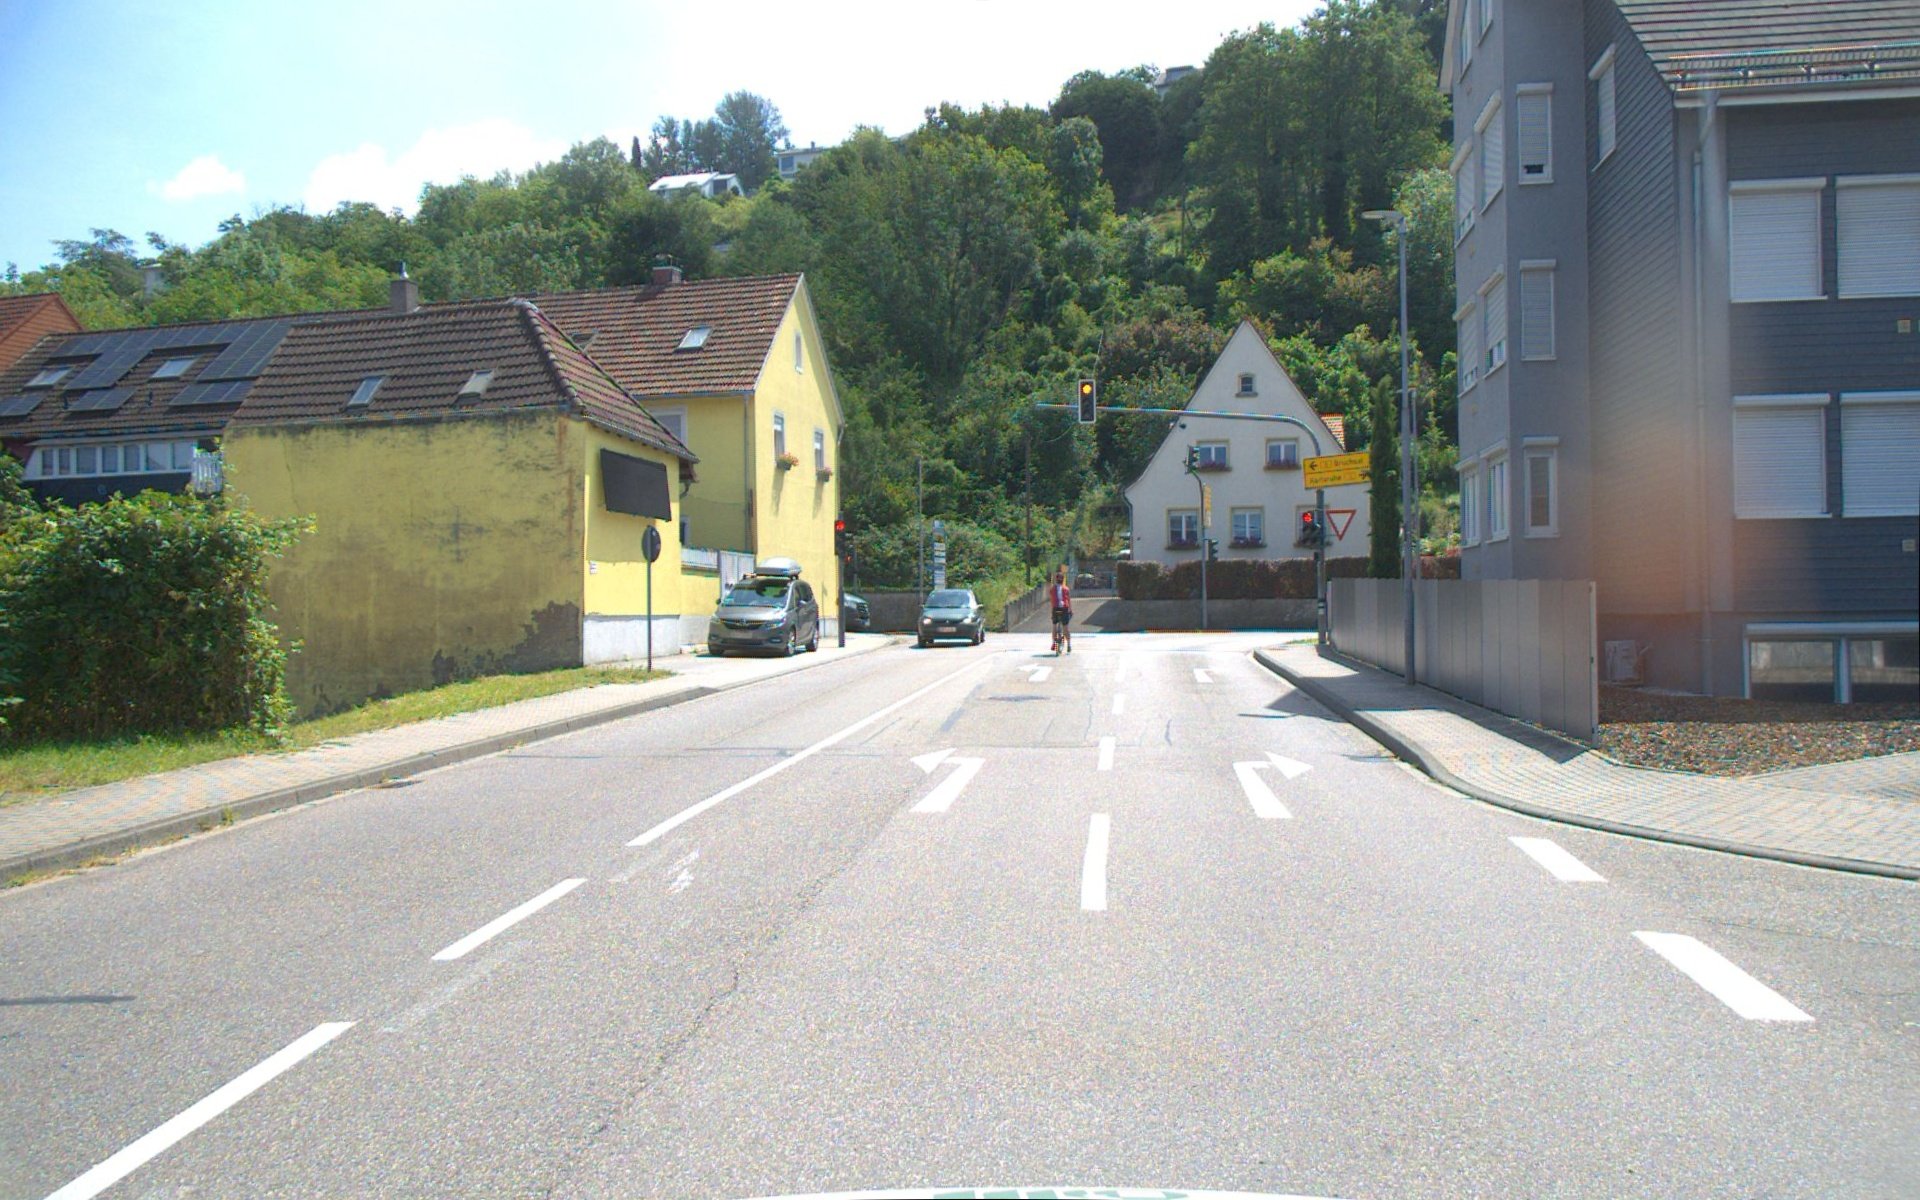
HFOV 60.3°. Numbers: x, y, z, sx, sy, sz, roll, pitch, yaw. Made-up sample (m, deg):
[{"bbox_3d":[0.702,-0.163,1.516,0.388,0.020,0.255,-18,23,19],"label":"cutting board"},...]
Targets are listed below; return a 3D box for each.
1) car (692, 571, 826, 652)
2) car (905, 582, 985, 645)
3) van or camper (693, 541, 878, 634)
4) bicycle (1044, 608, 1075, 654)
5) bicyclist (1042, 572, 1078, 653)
[{"bbox_3d":[-4.367,0.212,36.666,1.951,1.664,4.633,1,1,6],"label":"car"},{"bbox_3d":[-0.342,0.315,42.452,1.743,1.458,3.874,-2,0,3],"label":"car"},{"bbox_3d":[-5.956,-0.403,56.584,5.865,3.057,2.220,-1,0,14],"label":"van or camper"},{"bbox_3d":[2.095,0.651,34.909,0.616,0.920,1.658,0,0,2],"label":"bicycle"},{"bbox_3d":[2.121,0.253,34.976,0.745,1.693,0.869,0,0,3],"label":"bicyclist"}]
